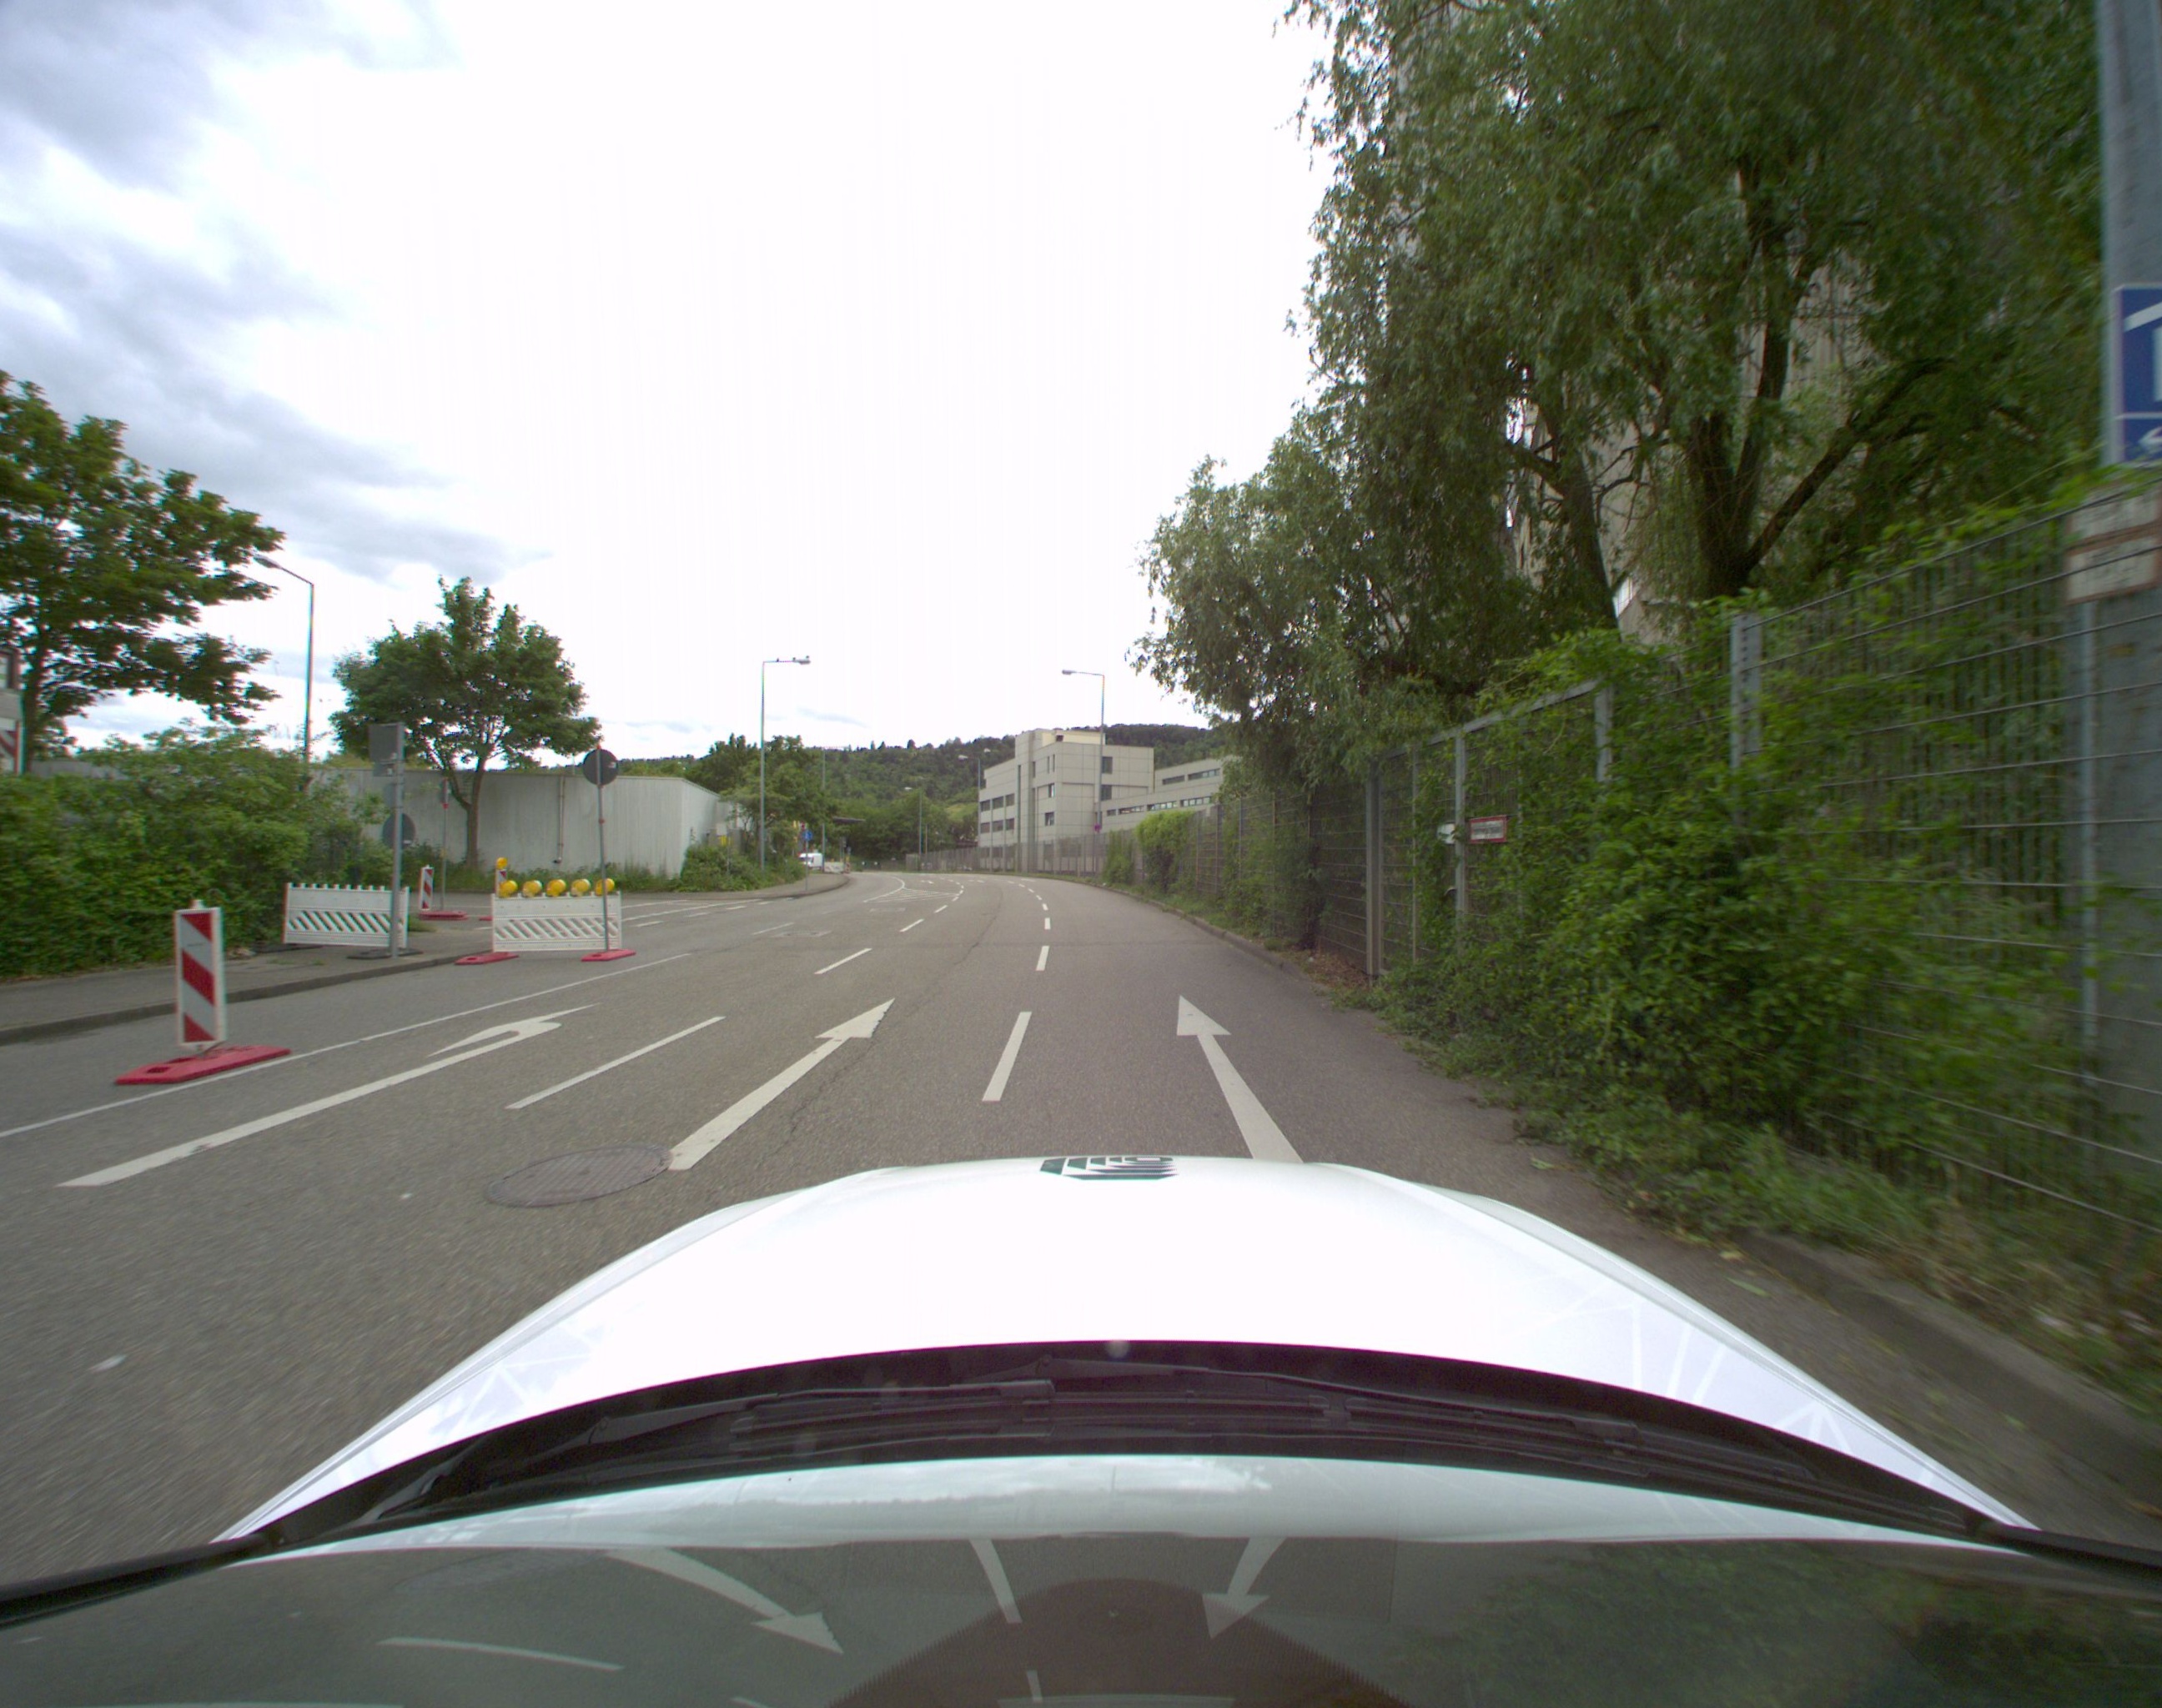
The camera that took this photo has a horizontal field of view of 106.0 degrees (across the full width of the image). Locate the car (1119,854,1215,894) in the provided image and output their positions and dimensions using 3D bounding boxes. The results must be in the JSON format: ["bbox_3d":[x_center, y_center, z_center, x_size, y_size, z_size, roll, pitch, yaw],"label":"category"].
[{"bbox_3d":[5.144,1.175,49.802,2.010,2.263,6.097,2,-1,-40],"label":"car"}]

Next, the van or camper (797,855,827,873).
[{"bbox_3d":[-38.124,1.480,115.541,2.002,2.326,6.650,0,-2,0],"label":"van or camper"}]

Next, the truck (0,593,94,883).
[{"bbox_3d":[-19.639,-1.664,10.166,9.613,3.992,3.044,1,-2,-8],"label":"truck"}]
